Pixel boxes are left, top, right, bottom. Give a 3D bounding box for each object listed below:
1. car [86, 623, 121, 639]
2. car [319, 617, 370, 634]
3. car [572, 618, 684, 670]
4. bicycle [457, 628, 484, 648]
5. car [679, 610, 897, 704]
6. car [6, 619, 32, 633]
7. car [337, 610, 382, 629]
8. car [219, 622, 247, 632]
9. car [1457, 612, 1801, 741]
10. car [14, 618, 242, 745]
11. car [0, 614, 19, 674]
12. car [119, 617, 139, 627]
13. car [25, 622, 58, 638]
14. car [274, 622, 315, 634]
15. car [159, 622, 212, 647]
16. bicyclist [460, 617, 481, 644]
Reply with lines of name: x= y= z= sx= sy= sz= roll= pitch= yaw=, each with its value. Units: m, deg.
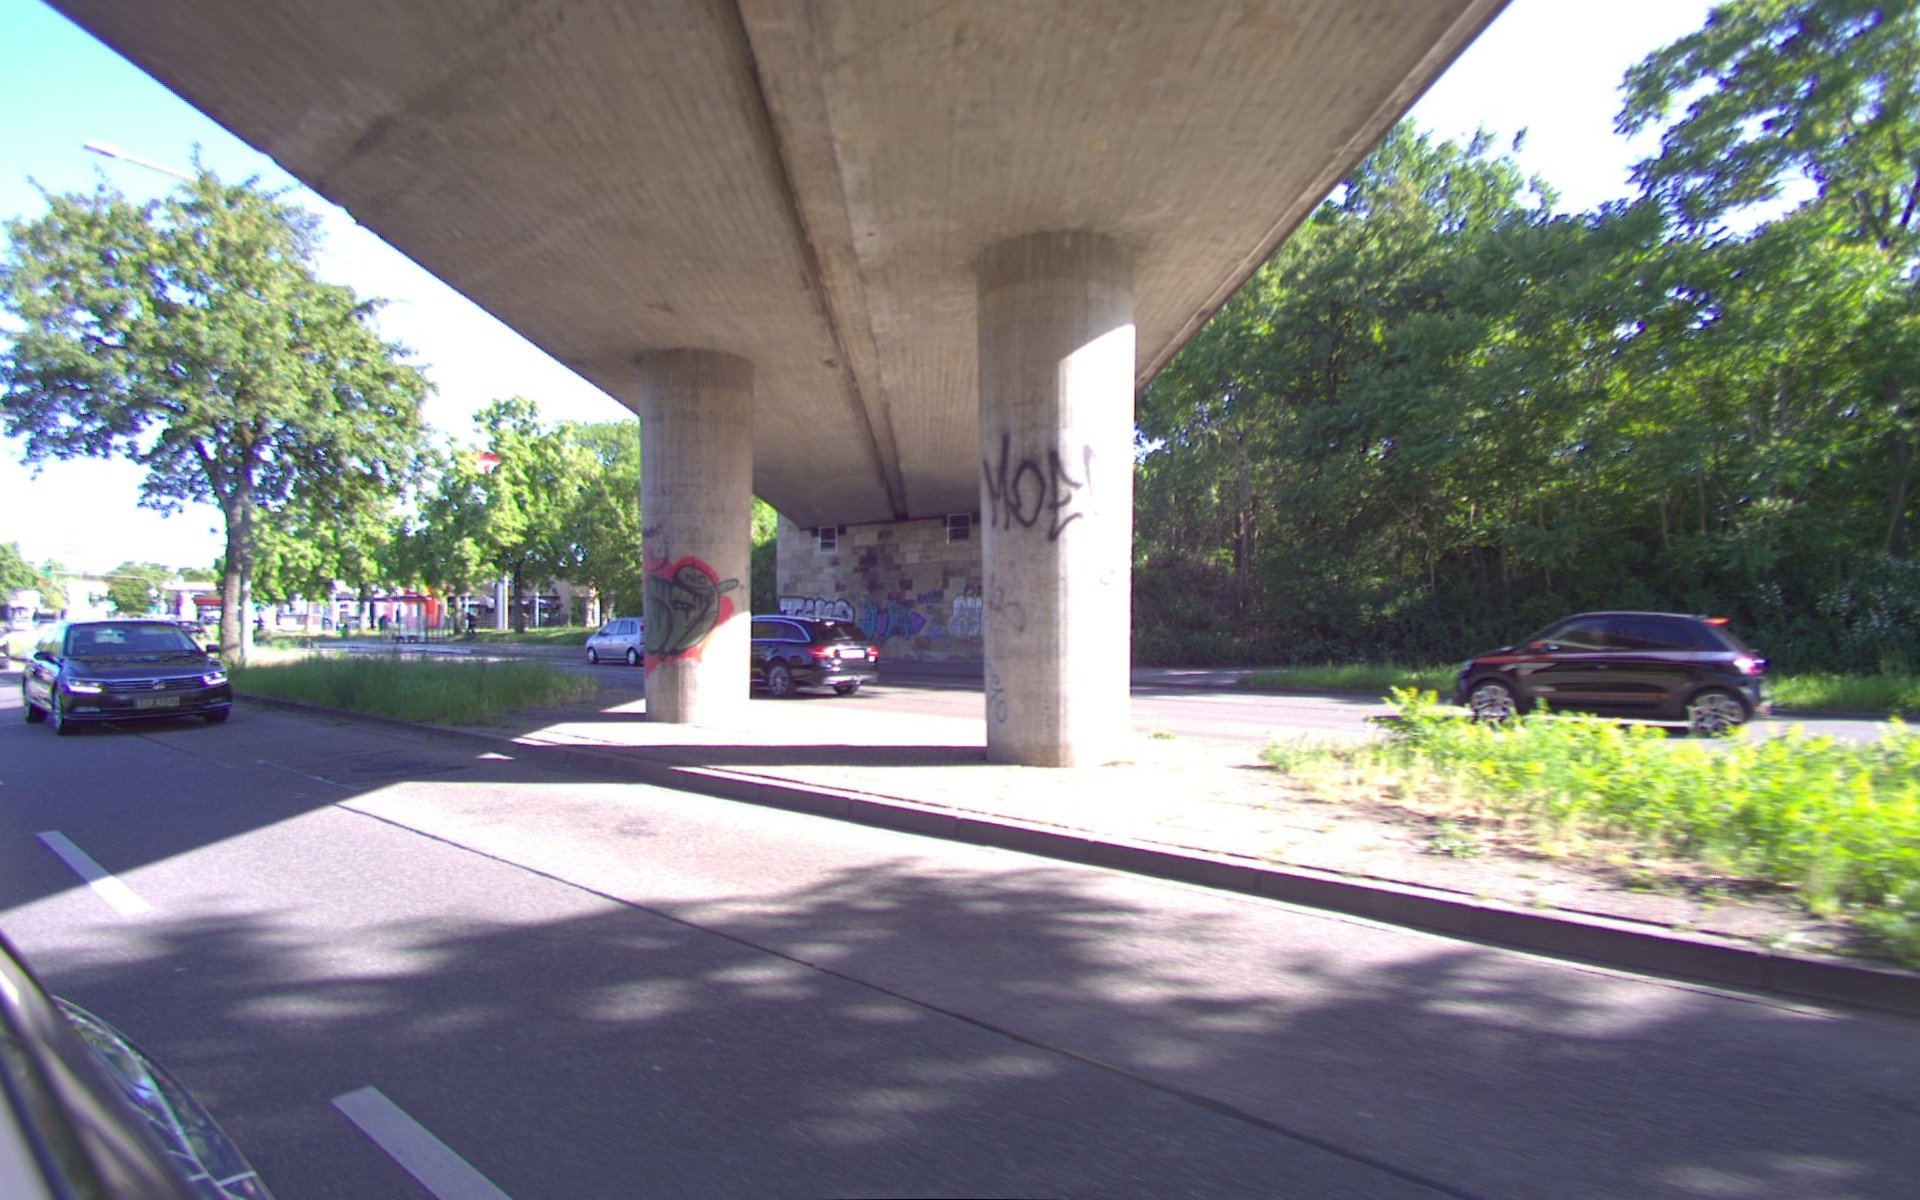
car: x=-83.942 y=3.003 z=99.168 sx=4.487 sy=1.466 sz=1.894 roll=-1 pitch=-3 yaw=41
car: x=-62.906 y=2.599 z=103.477 sx=4.073 sy=1.674 sz=1.896 roll=-1 pitch=0 yaw=-1
car: x=-11.292 y=1.452 z=34.332 sx=4.177 sy=1.629 sz=1.711 roll=-1 pitch=-2 yaw=41
bicycle: x=-26.560 y=2.043 z=54.903 sx=1.713 sy=1.038 sz=0.676 roll=-1 pitch=0 yaw=41
car: x=-3.246 y=1.012 z=18.728 sx=3.998 sy=1.555 sz=1.823 roll=-1 pitch=-4 yaw=41
car: x=-103.010 y=2.826 z=110.749 sx=4.109 sy=1.462 sz=1.624 roll=-1 pitch=-3 yaw=41
car: x=-64.184 y=2.102 z=108.185 sx=3.778 sy=1.864 sz=1.847 roll=-1 pitch=0 yaw=1
car: x=-92.953 y=3.450 z=129.404 sx=4.116 sy=1.335 sz=1.876 roll=-1 pitch=-2 yaw=40
car: x=8.829 y=0.918 z=13.488 sx=3.637 sy=1.472 sz=1.823 roll=-1 pitch=-2 yaw=41
car: x=-11.681 y=1.006 z=14.104 sx=4.264 sy=1.464 sz=1.824 roll=-1 pitch=-1 yaw=42
car: x=-29.653 y=1.295 z=30.080 sx=4.694 sy=1.696 sz=1.973 roll=-1 pitch=0 yaw=41
car: x=-139.718 y=3.630 z=170.150 sx=4.116 sy=1.625 sz=1.740 roll=-1 pitch=-2 yaw=40
car: x=-88.821 y=2.860 z=97.866 sx=4.628 sy=1.446 sz=1.798 roll=-1 pitch=-3 yaw=41
car: x=-85.273 y=3.559 z=129.696 sx=1.900 sy=1.443 sz=4.063 roll=-1 pitch=-3 yaw=41
car: x=-47.681 y=2.107 z=62.258 sx=4.087 sy=1.453 sz=1.797 roll=-1 pitch=-2 yaw=41
bicyclist: x=-26.531 y=1.647 z=54.870 sx=1.026 sy=1.412 sz=0.673 roll=-1 pitch=0 yaw=41
